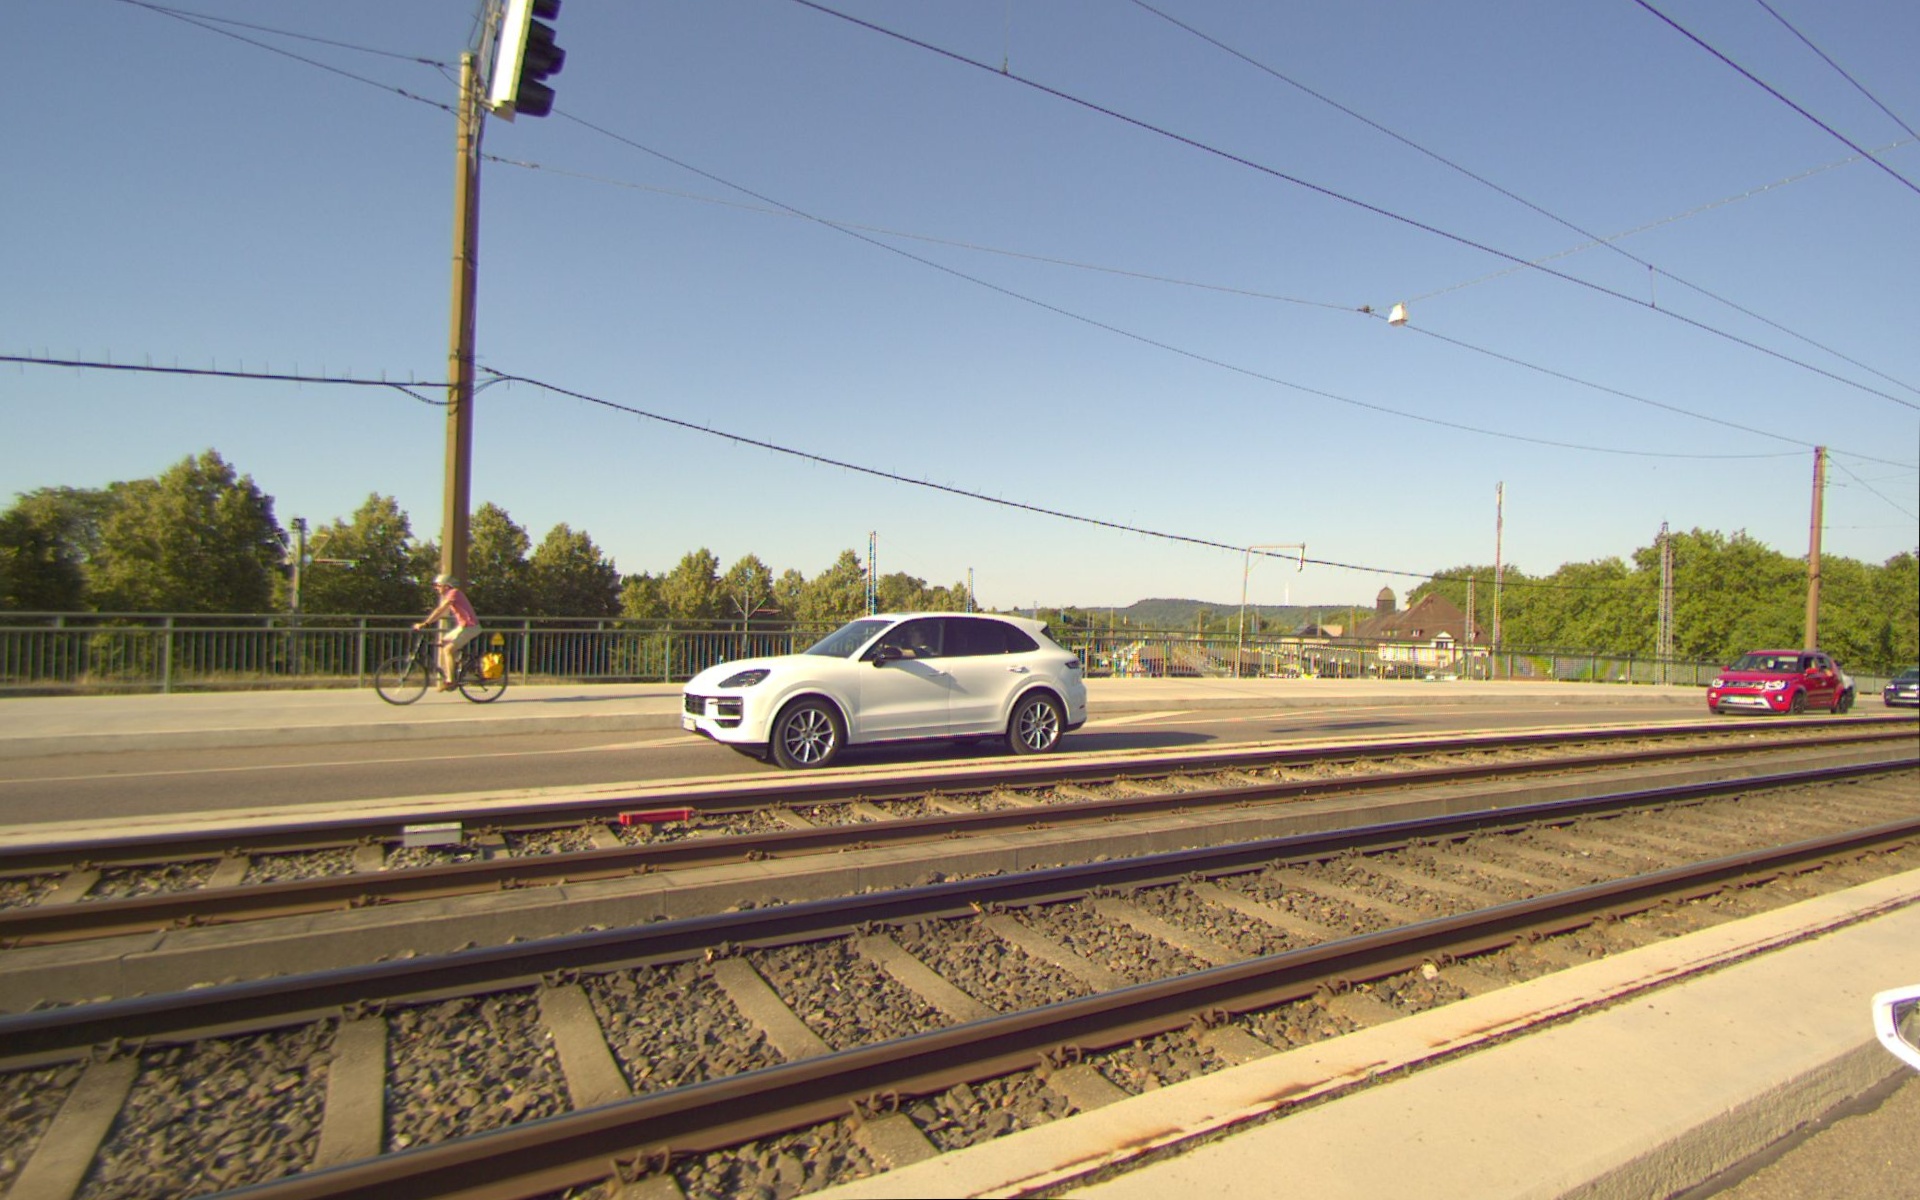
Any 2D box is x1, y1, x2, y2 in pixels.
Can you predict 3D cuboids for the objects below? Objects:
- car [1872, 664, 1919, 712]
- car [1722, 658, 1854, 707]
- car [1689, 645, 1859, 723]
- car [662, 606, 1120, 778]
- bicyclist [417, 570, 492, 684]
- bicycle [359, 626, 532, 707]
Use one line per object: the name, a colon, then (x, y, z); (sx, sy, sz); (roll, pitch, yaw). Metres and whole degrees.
car: (36.446, 3.312, 37.910); (4.395, 1.672, 1.771); (2, -1, -31)
car: (26.307, 2.591, 31.860); (4.863, 1.374, 1.676); (2, -1, -31)
car: (19.099, 1.978, 23.538); (3.955, 1.539, 1.799); (5, -1, -30)
car: (-0.720, 0.978, 11.853); (5.031, 1.659, 1.991); (2, -1, -31)
bicyclist: (-7.583, 0.402, 15.068); (0.925, 1.655, 0.622); (2, -1, -31)
bicycle: (-7.666, 0.988, 15.022); (2.234, 1.137, 0.622); (2, -1, -31)
